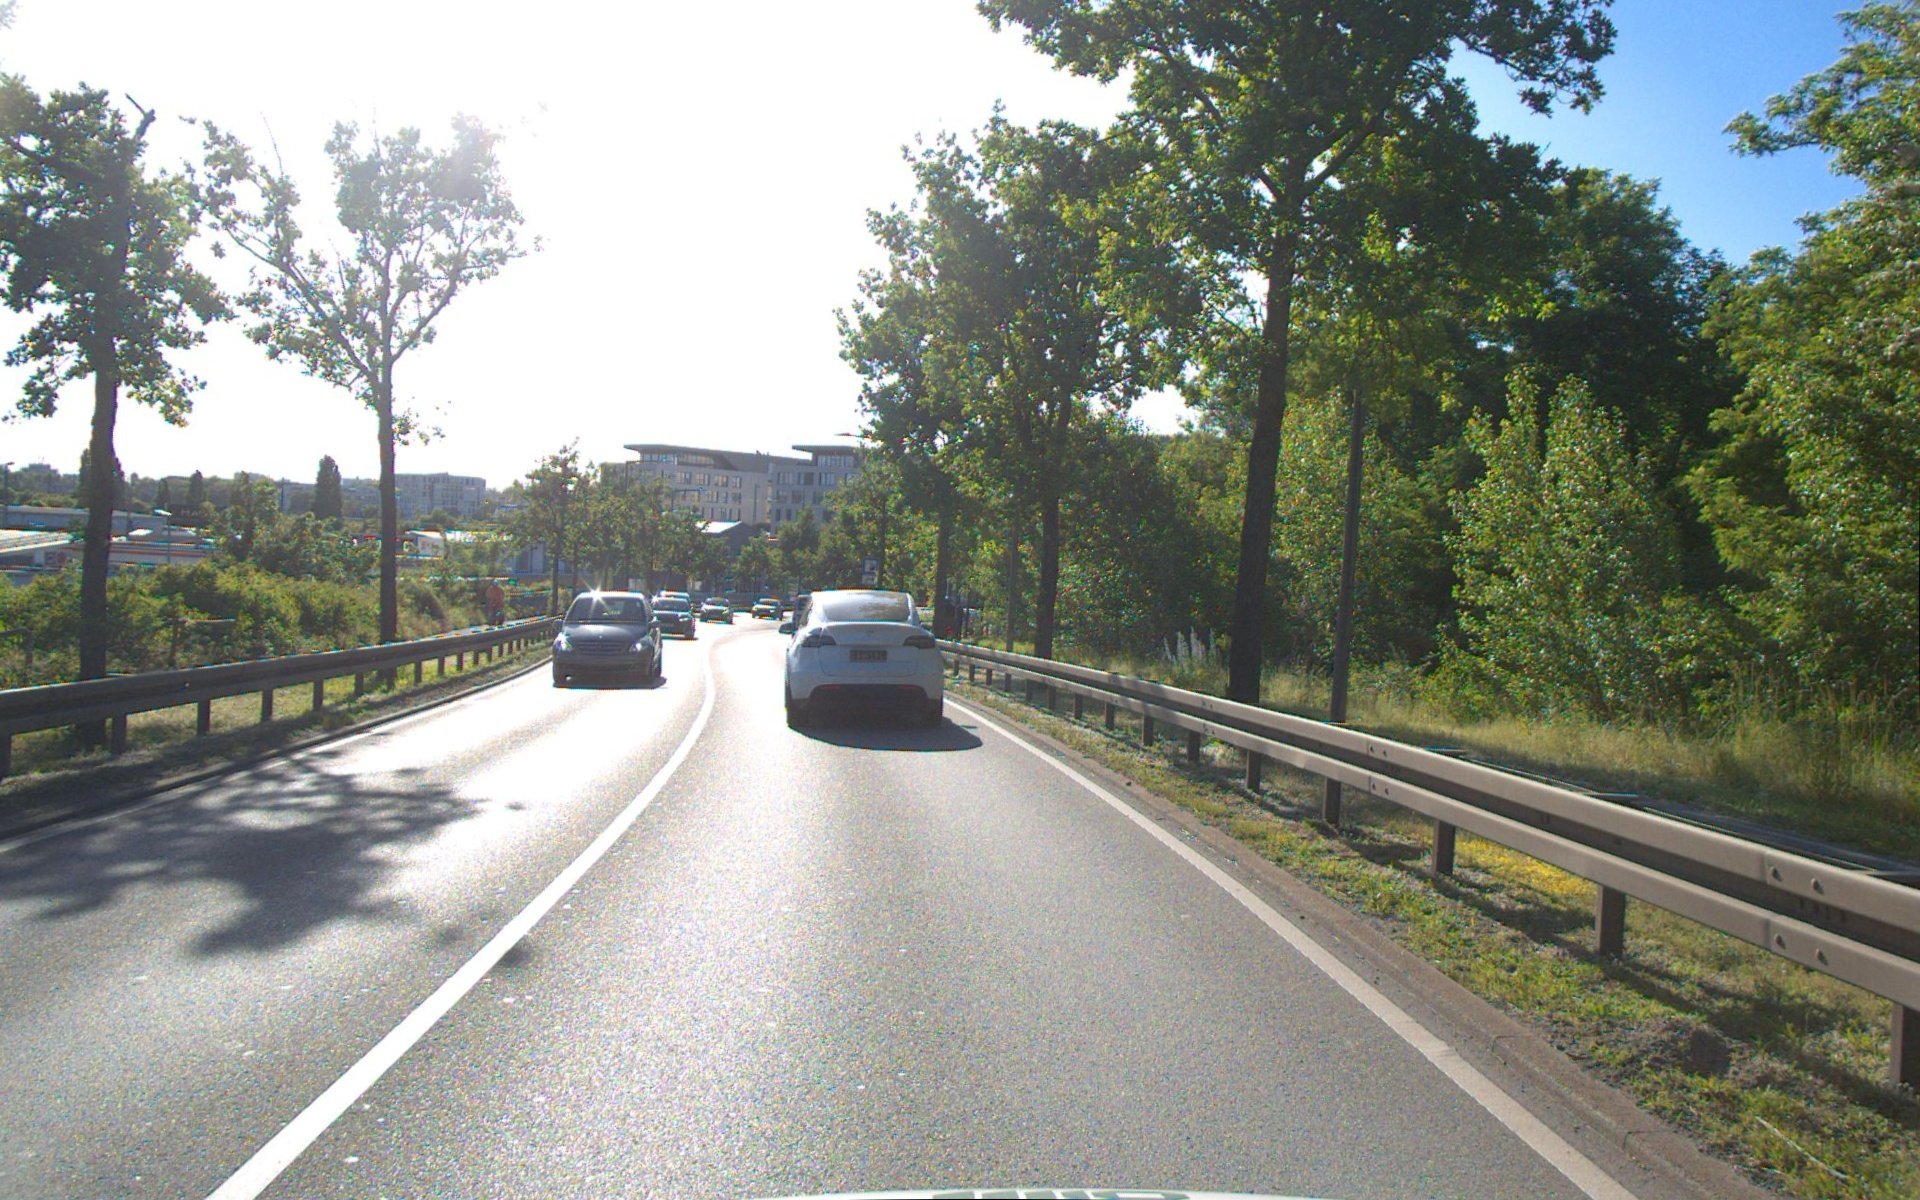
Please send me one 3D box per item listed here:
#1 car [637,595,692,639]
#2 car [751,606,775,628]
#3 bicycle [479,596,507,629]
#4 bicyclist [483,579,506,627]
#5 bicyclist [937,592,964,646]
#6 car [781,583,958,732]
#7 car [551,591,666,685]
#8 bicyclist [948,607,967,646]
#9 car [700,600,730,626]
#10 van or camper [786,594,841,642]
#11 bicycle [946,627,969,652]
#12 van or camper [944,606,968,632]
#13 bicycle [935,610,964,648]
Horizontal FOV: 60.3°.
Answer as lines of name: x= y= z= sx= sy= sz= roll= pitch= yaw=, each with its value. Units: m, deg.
car: x=-10.958 y=0.592 z=61.553 sx=1.815 sy=1.518 sz=4.707 roll=1 pitch=0 yaw=-9
car: x=-15.054 y=1.288 z=126.719 sx=1.775 sy=1.523 sz=4.363 roll=1 pitch=0 yaw=-7
bicycle: x=-16.436 y=0.443 z=58.231 sx=0.648 sy=1.114 sz=2.104 roll=1 pitch=0 yaw=-9
bicyclist: x=-16.431 y=0.098 z=58.341 sx=0.639 sy=1.652 sz=0.872 roll=1 pitch=0 yaw=-9
bicyclist: x=-0.297 y=0.586 z=50.596 sx=0.692 sy=1.606 sz=1.005 roll=1 pitch=-2 yaw=5
car: x=-1.262 y=0.655 z=21.060 sx=1.878 sy=1.669 sz=4.402 roll=1 pitch=0 yaw=-8
car: x=-6.424 y=0.649 z=30.589 sx=1.775 sy=1.581 sz=4.132 roll=1 pitch=0 yaw=-8
bicyclist: x=-0.104 y=1.230 z=76.912 sx=0.661 sy=1.807 sz=0.949 roll=1 pitch=0 yaw=10
car: x=-14.813 y=0.759 z=100.059 sx=1.659 sy=1.466 sz=4.209 roll=1 pitch=0 yaw=-7
van or camper: x=-6.102 y=0.719 z=69.306 sx=1.919 sy=1.917 sz=4.878 roll=1 pitch=0 yaw=-1
bicycle: x=-0.129 y=1.841 z=76.879 sx=0.680 sy=1.114 sz=2.119 roll=1 pitch=0 yaw=10
van or camper: x=-0.368 y=1.587 z=138.158 sx=1.789 sy=1.821 sz=4.544 roll=4 pitch=2 yaw=-1
bicycle: x=-0.316 y=0.903 z=50.472 sx=0.686 sy=1.093 sz=1.922 roll=1 pitch=-2 yaw=5
